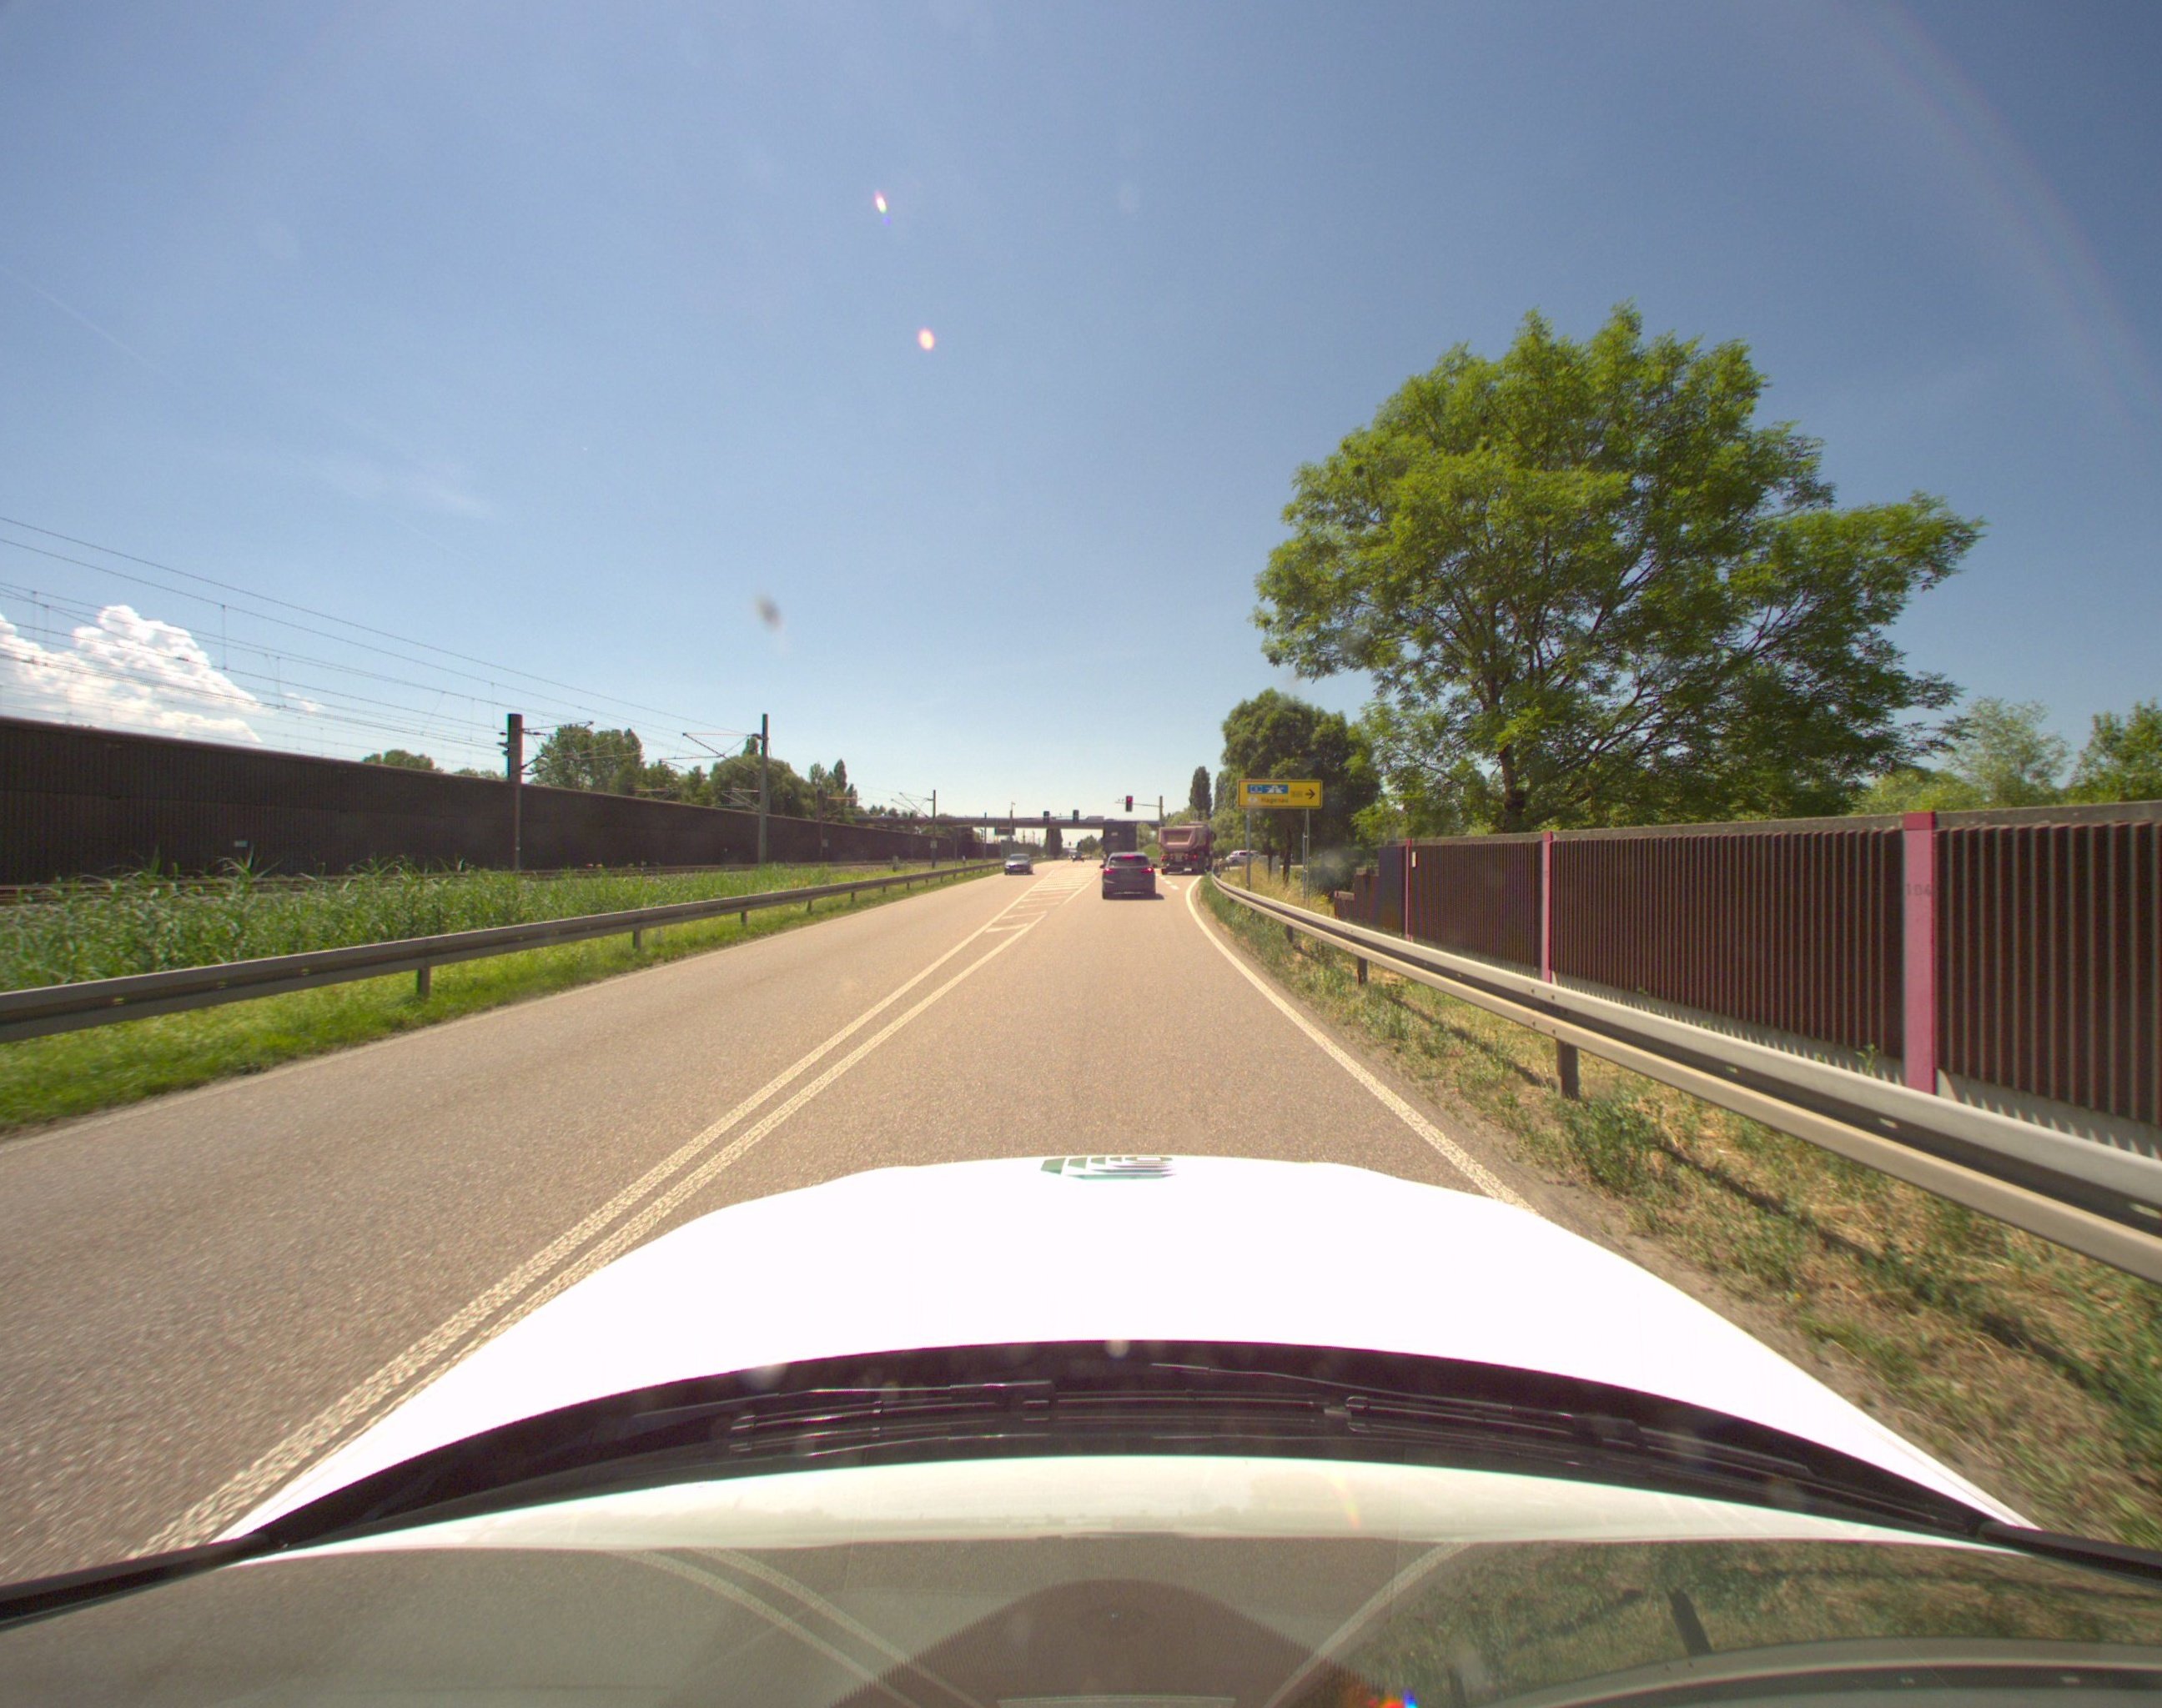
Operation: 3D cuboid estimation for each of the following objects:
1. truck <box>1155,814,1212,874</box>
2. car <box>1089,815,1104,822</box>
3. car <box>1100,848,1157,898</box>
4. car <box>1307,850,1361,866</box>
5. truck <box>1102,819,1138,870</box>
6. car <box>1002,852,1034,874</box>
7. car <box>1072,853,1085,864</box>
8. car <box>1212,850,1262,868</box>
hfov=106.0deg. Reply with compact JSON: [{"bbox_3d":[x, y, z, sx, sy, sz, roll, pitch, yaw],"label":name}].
[{"bbox_3d":[7.486,-0.662,57.908,2.814,3.821,11.927,0,0,13],"label":"truck"},{"bbox_3d":[4.063,-9.518,218.520,3.973,2.013,2.000,0,0,0],"label":"car"},{"bbox_3d":[1.611,0.630,28.756,1.838,1.623,4.227,0,0,2],"label":"car"},{"bbox_3d":[25.888,0.382,83.481,4.905,1.632,1.935,0,0,2],"label":"car"},{"bbox_3d":[3.030,-0.765,64.764,2.580,3.737,9.579,0,0,2],"label":"truck"},{"bbox_3d":[-4.422,0.603,57.813,1.859,1.485,4.886,0,0,0],"label":"car"},{"bbox_3d":[-0.426,0.696,137.430,1.920,1.767,4.600,1,1,2],"label":"car"},{"bbox_3d":[14.831,0.469,77.590,4.623,1.632,1.938,0,0,7],"label":"car"}]
